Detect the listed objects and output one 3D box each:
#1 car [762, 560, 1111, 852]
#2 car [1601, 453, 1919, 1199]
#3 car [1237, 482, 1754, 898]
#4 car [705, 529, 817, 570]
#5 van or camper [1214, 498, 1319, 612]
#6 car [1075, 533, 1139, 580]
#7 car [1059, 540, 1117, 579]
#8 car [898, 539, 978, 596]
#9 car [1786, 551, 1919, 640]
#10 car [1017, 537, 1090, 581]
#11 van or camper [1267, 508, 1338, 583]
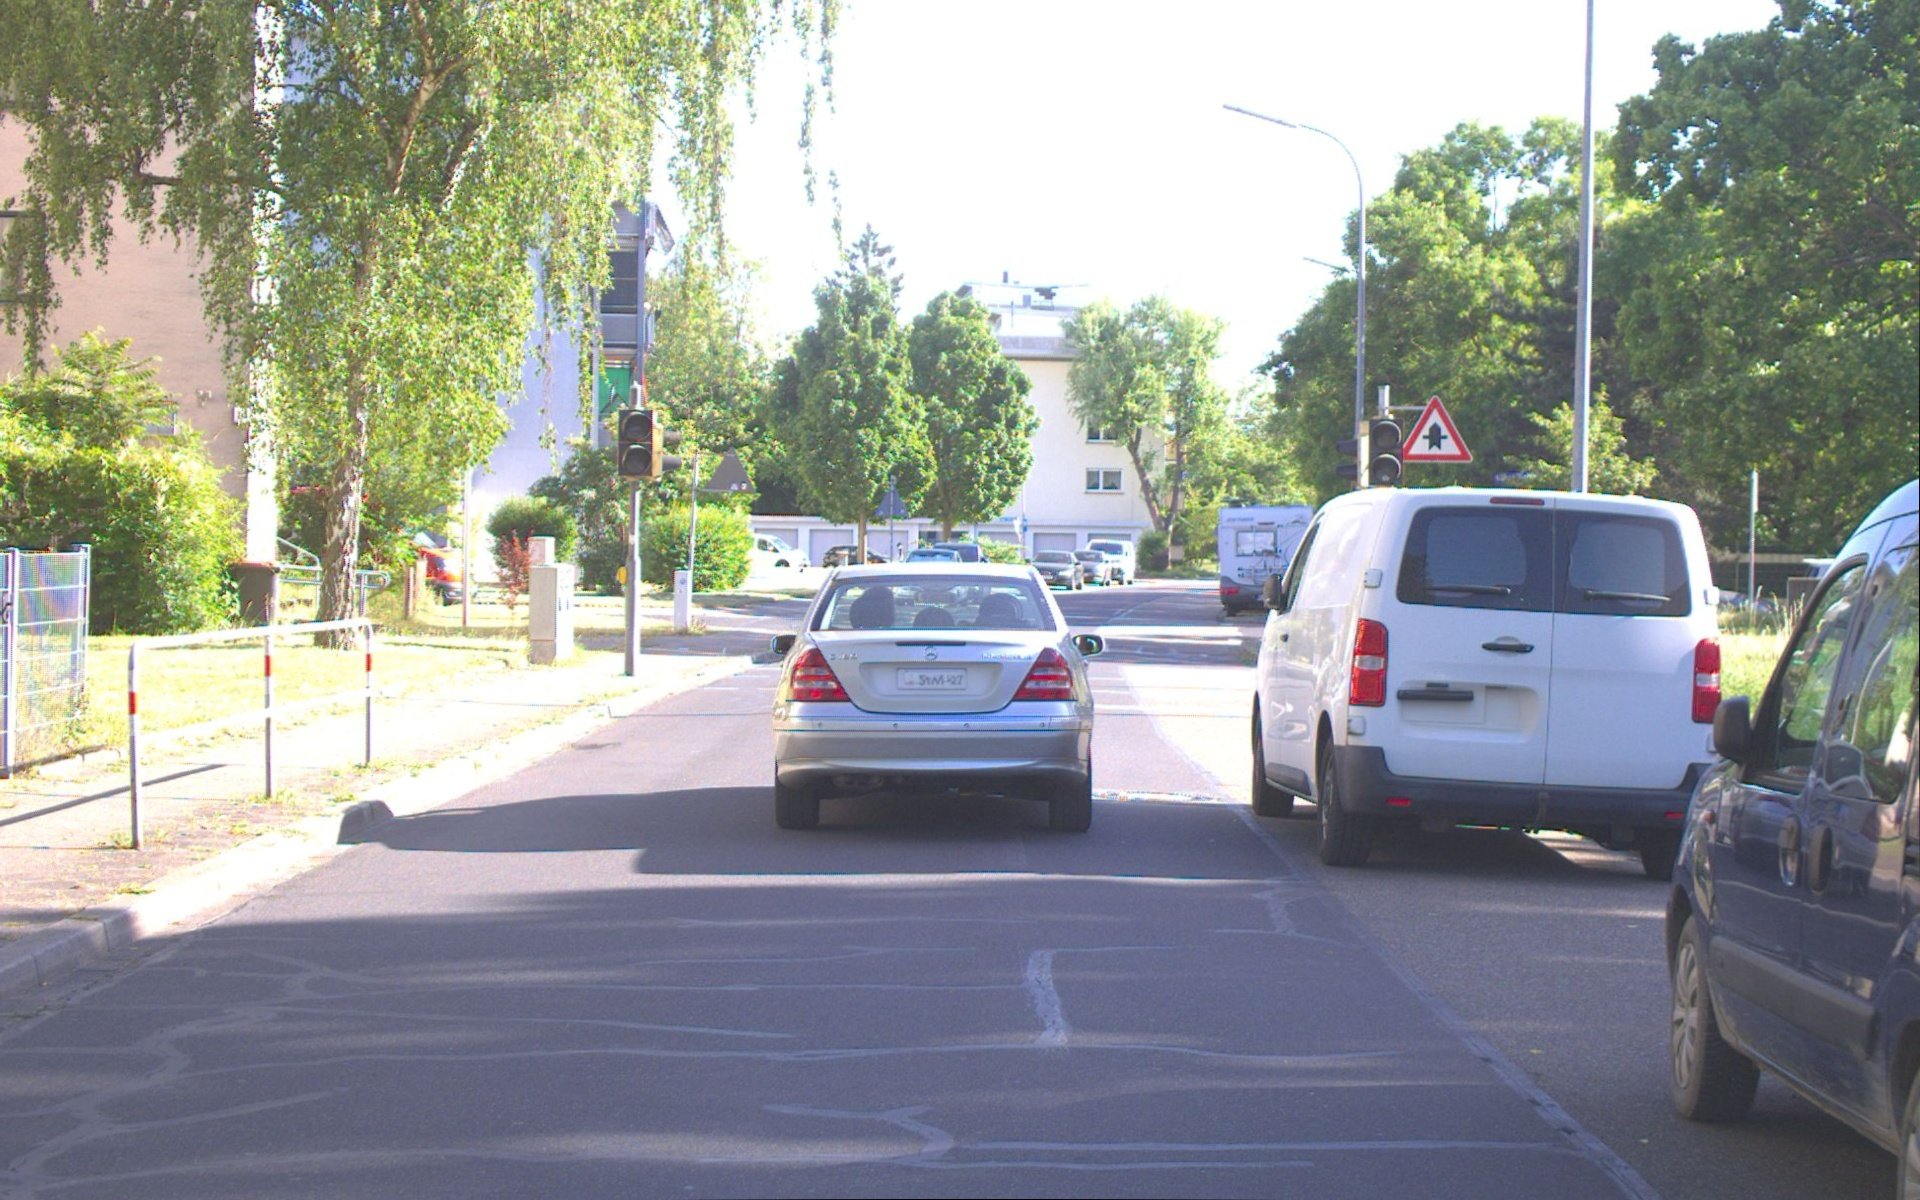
[{"bbox_3d":[-0.115,0.512,18.987,1.733,1.429,3.438,1,1,0],"label":"car"},{"bbox_3d":[2.710,0.580,7.977,1.698,1.724,4.084,2,1,1],"label":"car"},{"bbox_3d":[2.689,0.376,18.438,1.915,1.865,4.866,2,1,0],"label":"car"},{"bbox_3d":[-9.977,-2.538,172.405,5.109,1.944,2.235,1,1,16],"label":"car"},{"bbox_3d":[7.442,-1.105,83.682,2.352,2.587,6.425,-2,1,5],"label":"van or camper"},{"bbox_3d":[6.326,-1.838,147.345,2.015,1.879,5.189,3,1,9],"label":"car"},{"bbox_3d":[5.268,-1.658,140.940,1.834,1.513,4.220,3,1,9],"label":"car"},{"bbox_3d":[-0.578,-0.903,93.265,1.647,1.461,4.330,2,1,6],"label":"car"},{"bbox_3d":[17.343,-0.084,64.035,3.686,1.572,1.827,1,1,11],"label":"car"},{"bbox_3d":[3.519,-1.528,128.238,2.035,1.487,5.254,4,1,8],"label":"car"},{"bbox_3d":[13.310,-2.118,133.430,2.497,2.835,6.849,1,1,8],"label":"van or camper"}]
